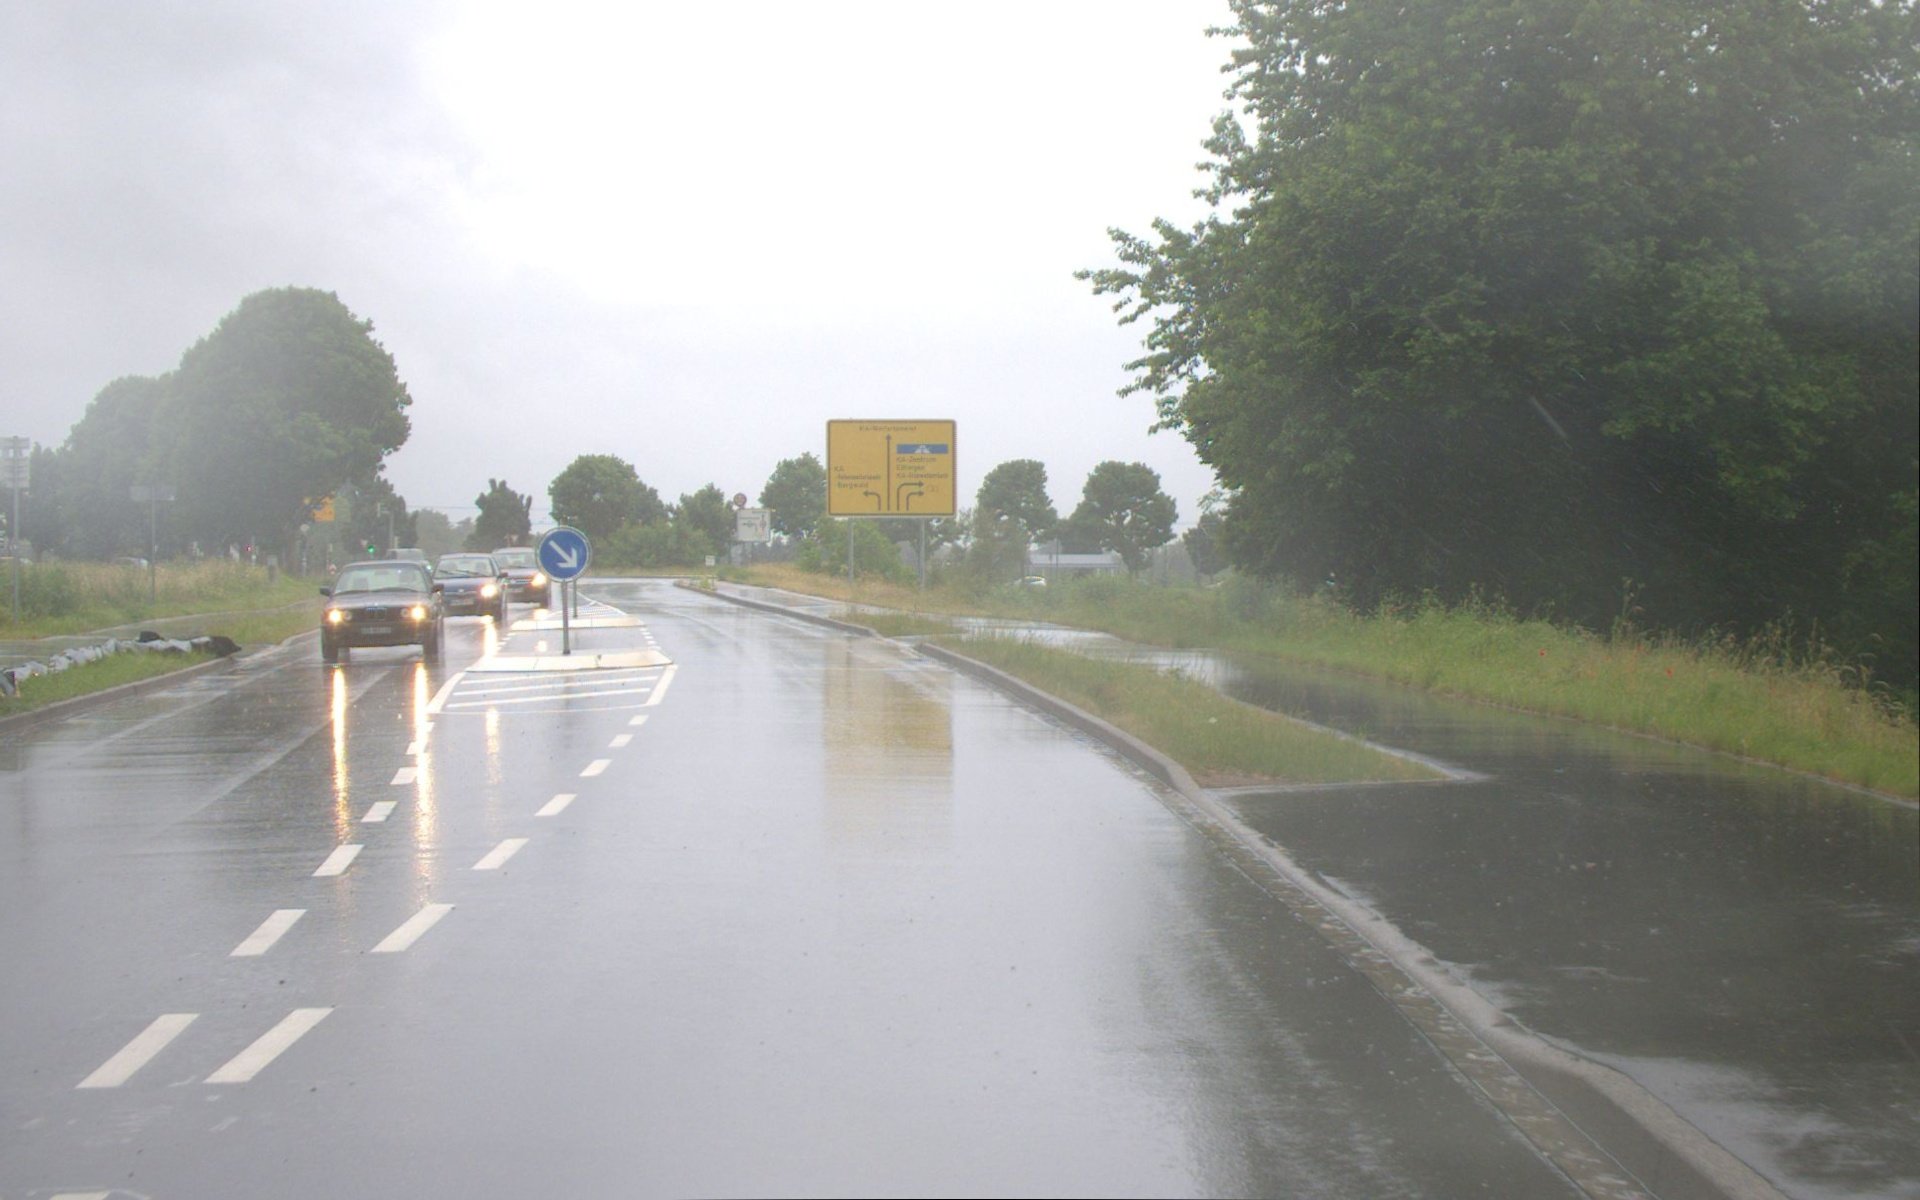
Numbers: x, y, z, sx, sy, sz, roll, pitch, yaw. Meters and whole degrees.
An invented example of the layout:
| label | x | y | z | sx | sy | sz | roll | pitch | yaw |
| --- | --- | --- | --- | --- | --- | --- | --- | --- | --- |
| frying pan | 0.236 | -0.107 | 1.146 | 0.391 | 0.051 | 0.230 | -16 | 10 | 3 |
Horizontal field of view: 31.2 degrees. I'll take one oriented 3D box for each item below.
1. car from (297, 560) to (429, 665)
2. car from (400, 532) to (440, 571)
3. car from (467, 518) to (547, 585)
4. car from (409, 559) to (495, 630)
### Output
| label | x | y | z | sx | sy | sz | roll | pitch | yaw |
| --- | --- | --- | --- | --- | --- | --- | --- | --- | --- |
| car | -8.632 | 0.144 | 49.988 | 1.682 | 1.378 | 4.226 | -2 | 1 | -8 |
| car | -29.327 | -2.639 | 186.819 | 1.993 | 1.965 | 4.958 | 3 | 1 | -9 |
| car | -12.281 | -1.320 | 93.096 | 1.741 | 1.712 | 4.268 | -2 | 1 | -12 |
| car | -10.995 | -0.139 | 74.488 | 1.741 | 1.440 | 3.683 | -2 | 1 | -8 |
